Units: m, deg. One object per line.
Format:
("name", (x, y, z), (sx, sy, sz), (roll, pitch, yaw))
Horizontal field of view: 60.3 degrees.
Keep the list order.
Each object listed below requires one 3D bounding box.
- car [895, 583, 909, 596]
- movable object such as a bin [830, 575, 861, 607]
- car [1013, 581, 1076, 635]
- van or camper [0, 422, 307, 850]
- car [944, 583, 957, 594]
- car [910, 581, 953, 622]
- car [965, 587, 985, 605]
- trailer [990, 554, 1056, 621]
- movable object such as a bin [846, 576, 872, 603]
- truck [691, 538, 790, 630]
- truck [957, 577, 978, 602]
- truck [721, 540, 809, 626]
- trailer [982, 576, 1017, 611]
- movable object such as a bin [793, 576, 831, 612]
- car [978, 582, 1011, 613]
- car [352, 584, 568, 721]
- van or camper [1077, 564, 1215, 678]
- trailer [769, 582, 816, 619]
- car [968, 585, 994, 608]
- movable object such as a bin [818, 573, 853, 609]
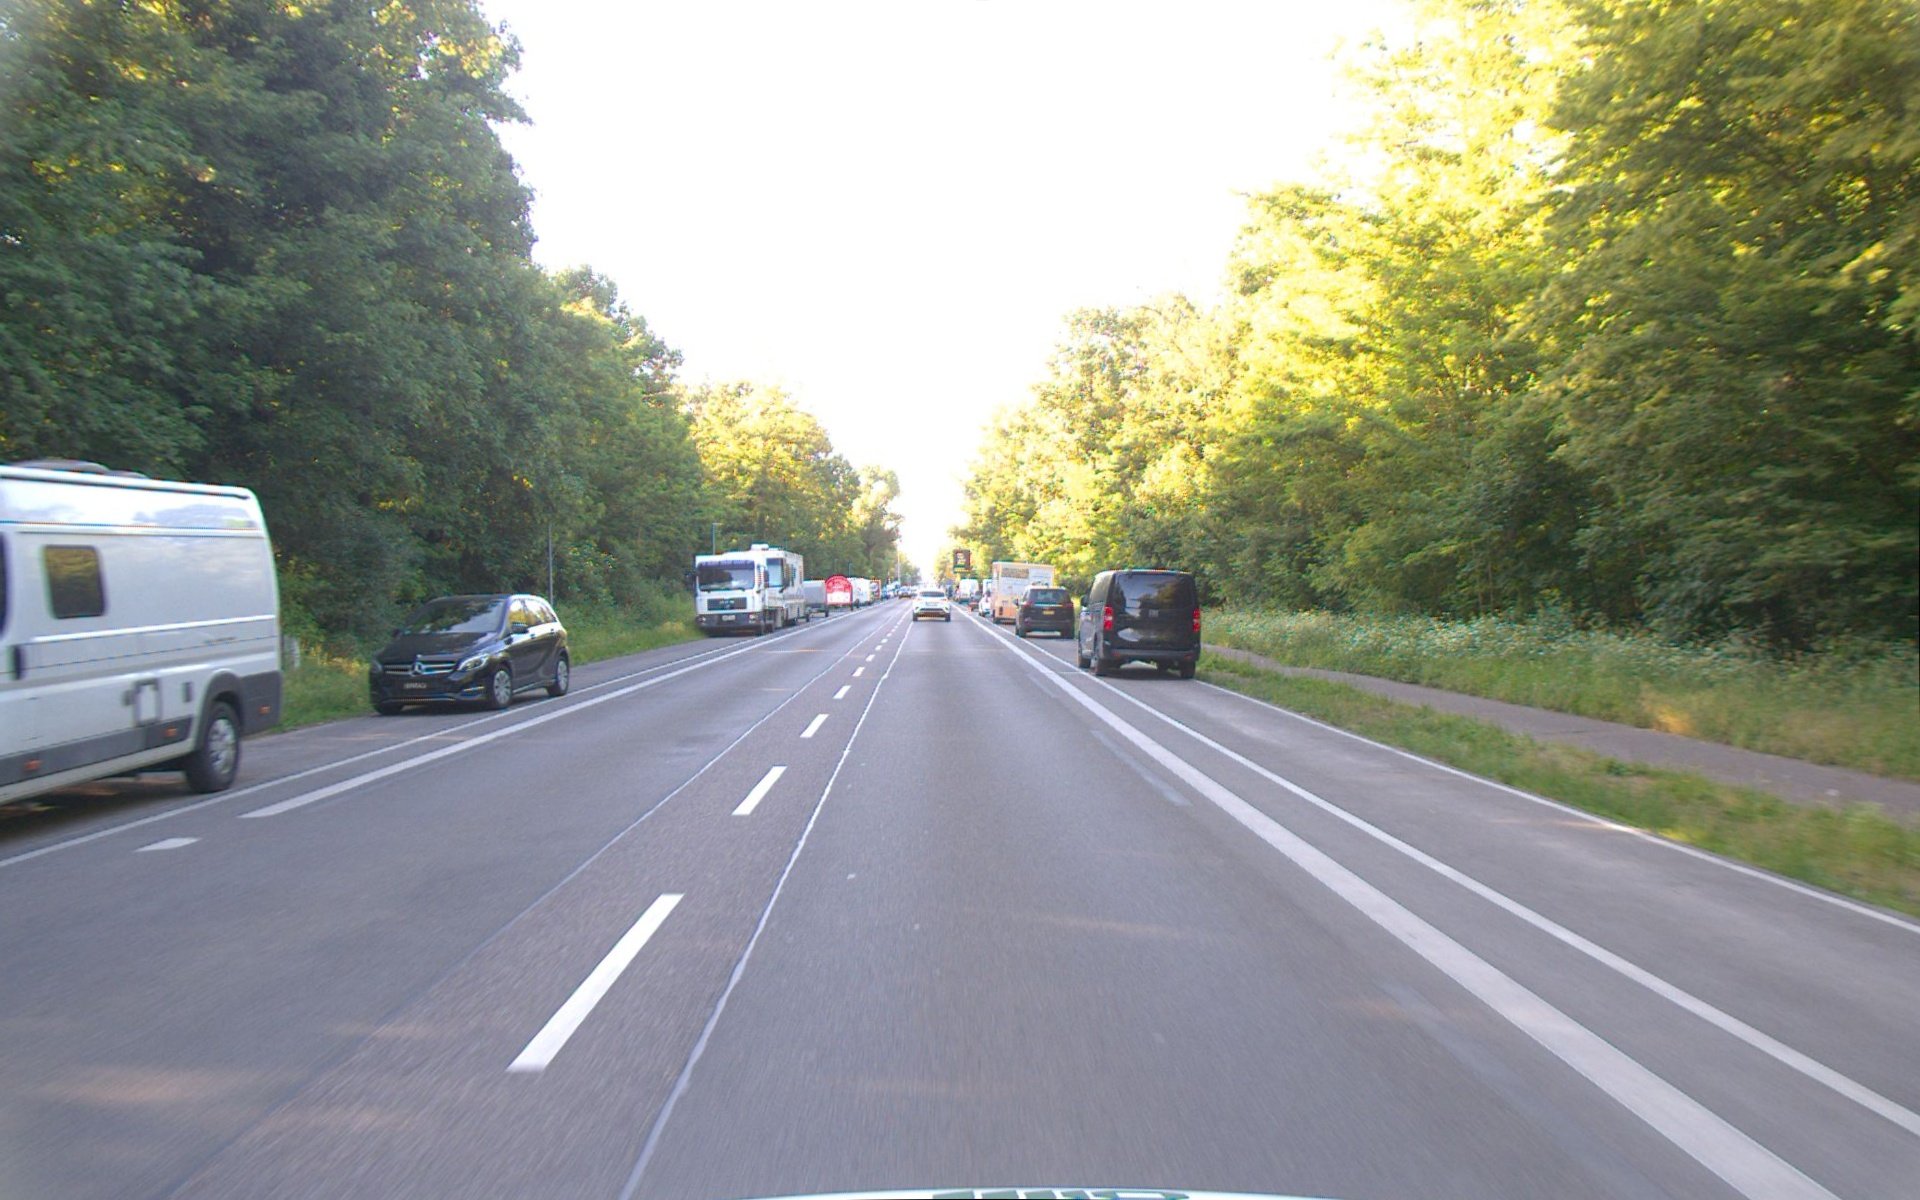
("car", (-8.178, -1.454, 233.892), (1.953, 1.707, 3.999), (-2, 1, -1))
("movable object such as a bin", (-9.254, -0.713, 133.842), (2.275, 2.545, 3.999), (0, 0, -1))
("car", (2.728, 0.227, 54.276), (1.803, 1.691, 4.000), (0, 0, -1))
("van or camper", (-6.926, 0.217, 11.658), (2.077, 2.617, 6.541), (-1, 1, -1))
("car", (-1.297, -1.553, 220.080), (1.622, 1.504, 3.753), (0, 0, -1))
("car", (-1.364, 0.057, 78.814), (1.987, 1.872, 4.028), (0, 1, -1))
("car", (1.270, -0.376, 143.416), (1.622, 1.504, 3.753), (0, 0, -1))
("trailer", (2.843, -0.589, 76.417), (2.701, 2.920, 6.587), (0, 0, -1))
("movable object such as a bin", (-9.509, -1.018, 156.270), (2.275, 2.545, 3.999), (0, 0, -1))
("truck", (-7.900, -0.576, 60.382), (2.652, 3.147, 7.988), (0, 0, -1))
("truck", (0.746, -1.104, 167.177), (2.054, 2.495, 5.679), (0, 0, -1))
("truck", (-8.293, -0.720, 71.537), (2.652, 3.406, 10.921), (0, 0, -1))
("trailer", (2.347, -0.393, 99.093), (1.953, 2.004, 3.999), (0, 0, -1))
("movable object such as a bin", (-8.482, -0.358, 95.145), (1.914, 2.049, 3.999), (0, 0, -1))
("car", (1.892, -0.170, 92.401), (1.697, 1.713, 3.999), (0, 0, -1))
("car", (-6.967, 0.660, 23.532), (1.745, 1.713, 4.377), (-2, 0, -1))
("van or camper", (3.450, 0.346, 31.656), (1.953, 1.966, 5.198), (1, 0, -1))
("trailer", (-8.265, 0.018, 81.727), (1.953, 1.780, 4.327), (0, 0, -1))
("car", (1.430, -0.269, 112.296), (1.622, 1.504, 3.753), (0, 0, -1))
("movable object such as a bin", (-8.958, -0.632, 119.337), (2.275, 2.545, 3.999), (0, 0, -1))
